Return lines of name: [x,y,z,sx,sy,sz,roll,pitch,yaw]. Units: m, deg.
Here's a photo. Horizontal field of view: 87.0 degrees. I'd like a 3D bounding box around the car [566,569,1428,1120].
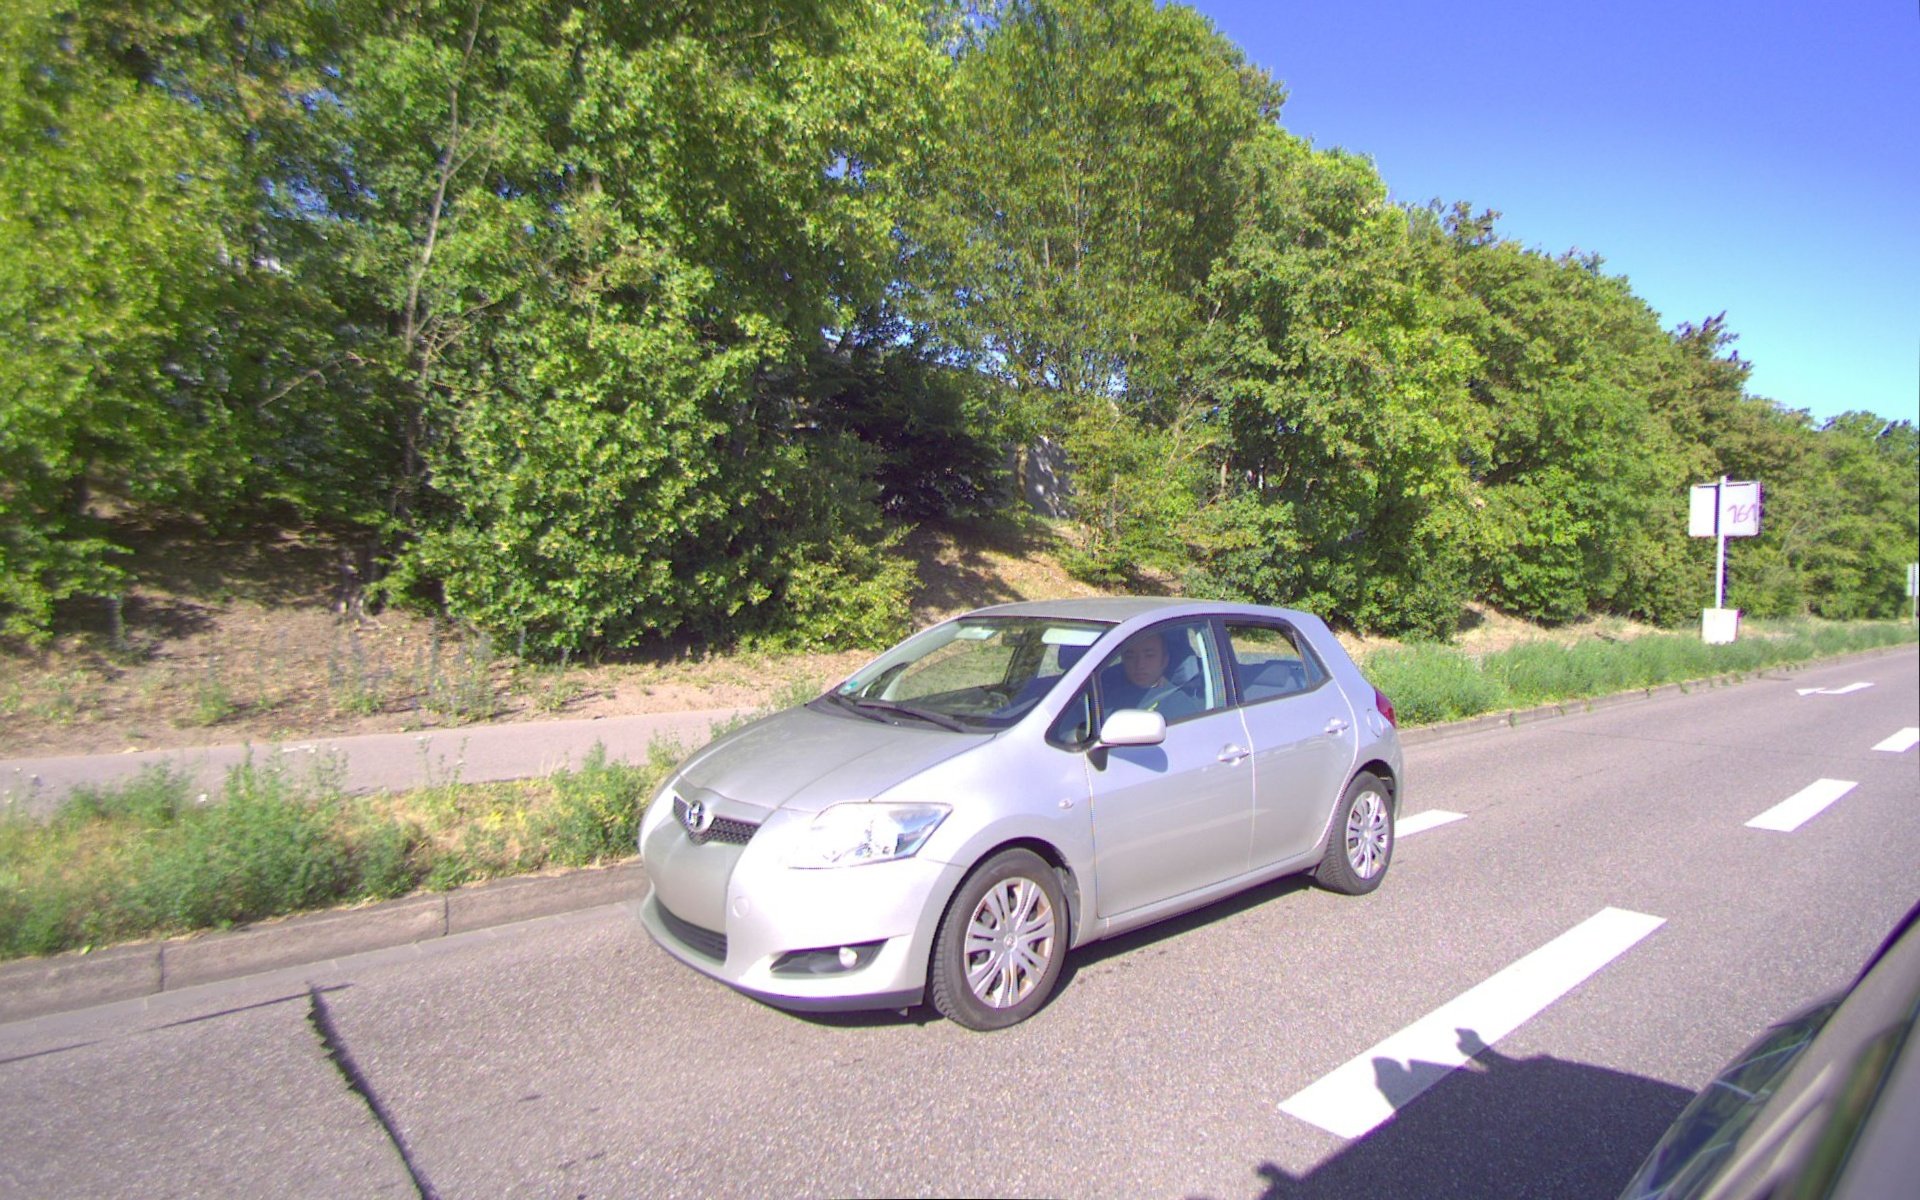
car: [0.457,0.693,4.872,4.036,1.556,1.786,0,0,-41]
